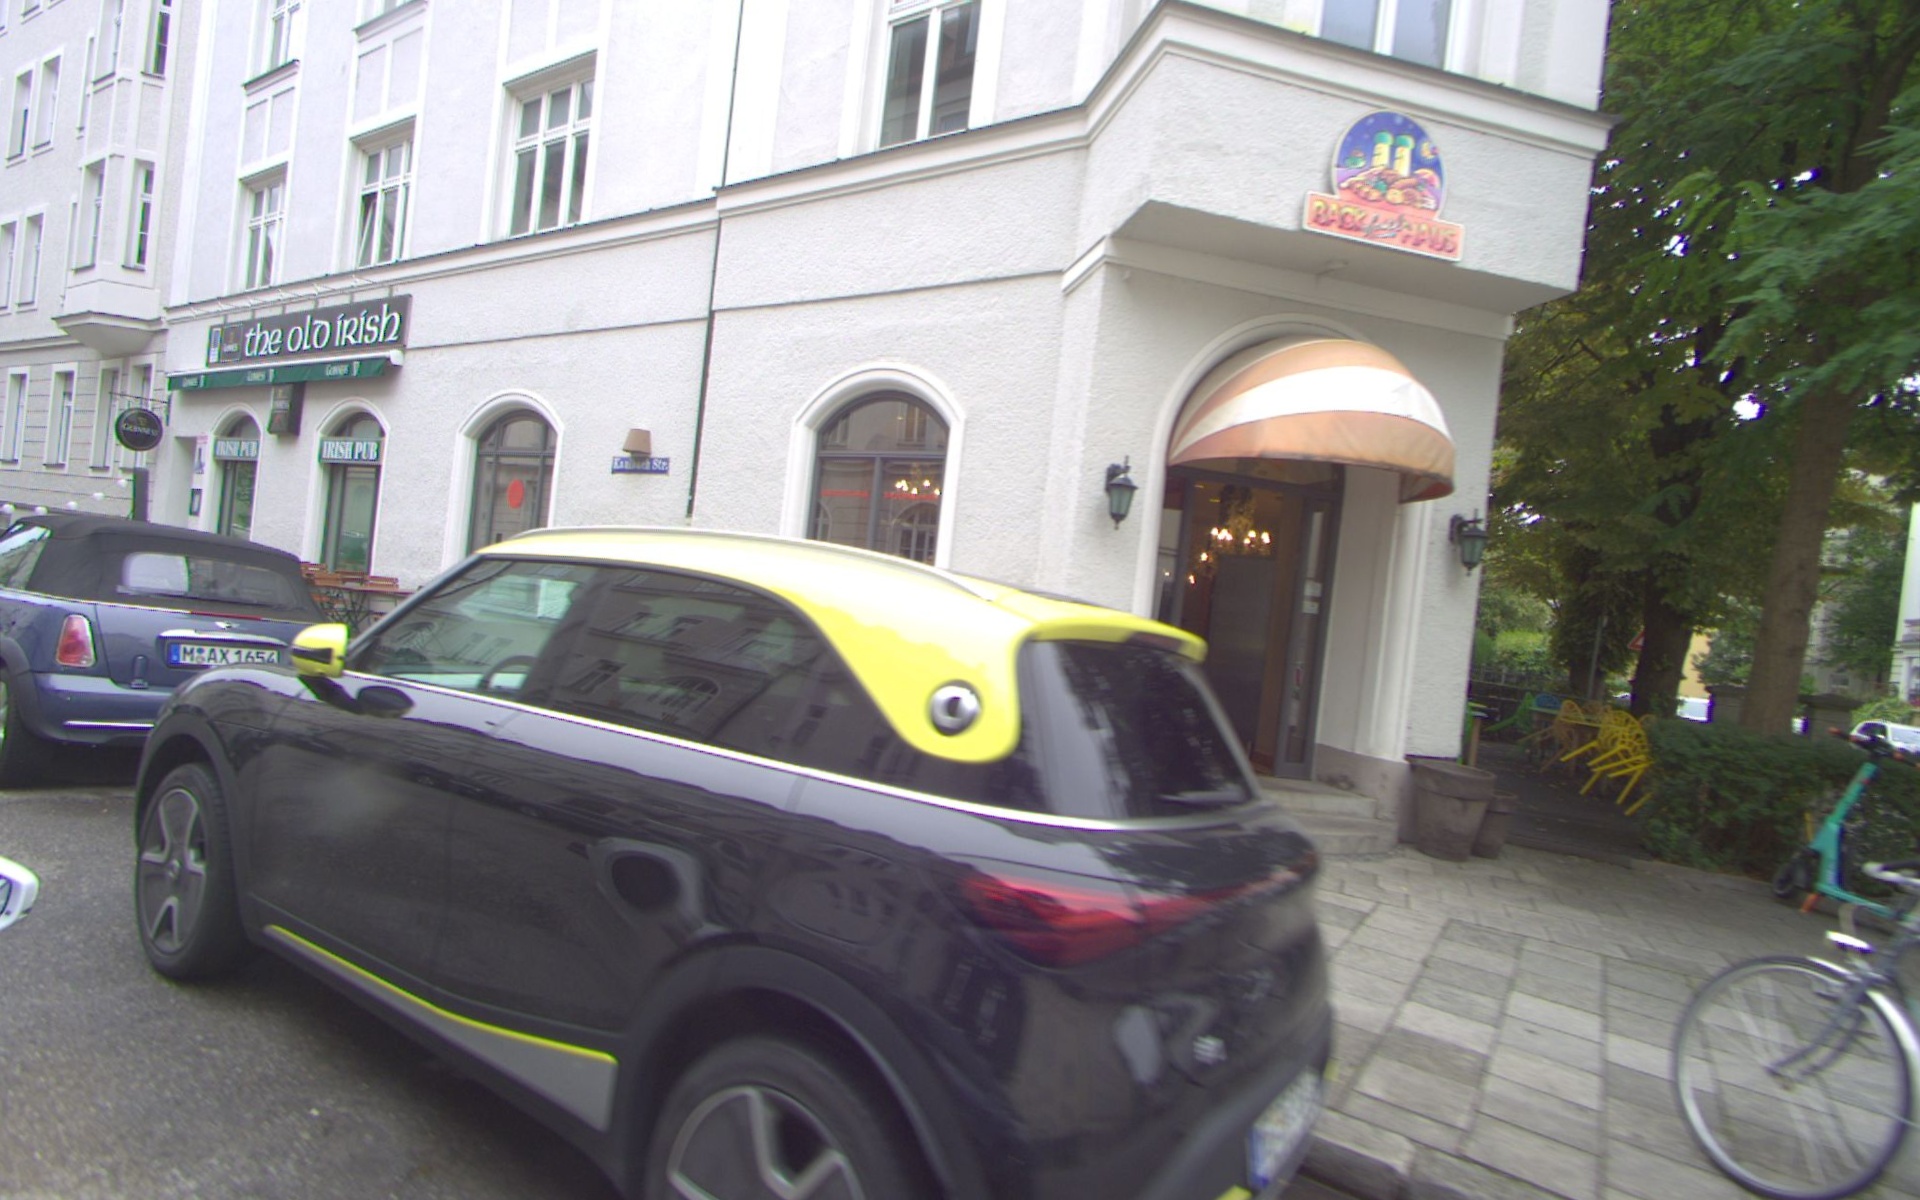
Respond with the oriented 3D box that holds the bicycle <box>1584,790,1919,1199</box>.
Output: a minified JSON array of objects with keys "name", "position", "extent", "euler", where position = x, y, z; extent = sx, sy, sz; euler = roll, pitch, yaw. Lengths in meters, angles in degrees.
[{"name":"bicycle","position":[2.954,1.278,2.848],"extent":[1.712,1.079,0.818],"euler":[7,3,7]}]

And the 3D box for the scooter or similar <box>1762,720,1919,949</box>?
[{"name":"scooter or similar","position":[6.039,1.516,6.491],"extent":[0.396,1.286,1.172],"euler":[6,1,-27]}]

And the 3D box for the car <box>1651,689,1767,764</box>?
[{"name":"car","position":[20.922,3.478,28.279],"extent":[1.607,1.638,3.997],"euler":[7,0,24]}]

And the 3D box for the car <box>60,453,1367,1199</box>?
[{"name":"car","position":[-1.043,0.574,3.356],"extent":[4.028,1.637,1.840],"euler":[7,-2,34]}]

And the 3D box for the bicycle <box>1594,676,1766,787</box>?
[{"name":"bicycle","position":[11.220,1.970,15.907],"extent":[0.947,1.326,3.778],"euler":[7,0,18]}]

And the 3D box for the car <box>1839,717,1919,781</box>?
[{"name":"car","position":[28.105,4.495,29.737],"extent":[1.802,1.537,3.999],"euler":[10,1,22]}]

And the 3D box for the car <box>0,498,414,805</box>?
[{"name":"car","position":[-5.271,0.196,6.416],"extent":[3.438,1.416,1.669],"euler":[7,-2,35]}]
